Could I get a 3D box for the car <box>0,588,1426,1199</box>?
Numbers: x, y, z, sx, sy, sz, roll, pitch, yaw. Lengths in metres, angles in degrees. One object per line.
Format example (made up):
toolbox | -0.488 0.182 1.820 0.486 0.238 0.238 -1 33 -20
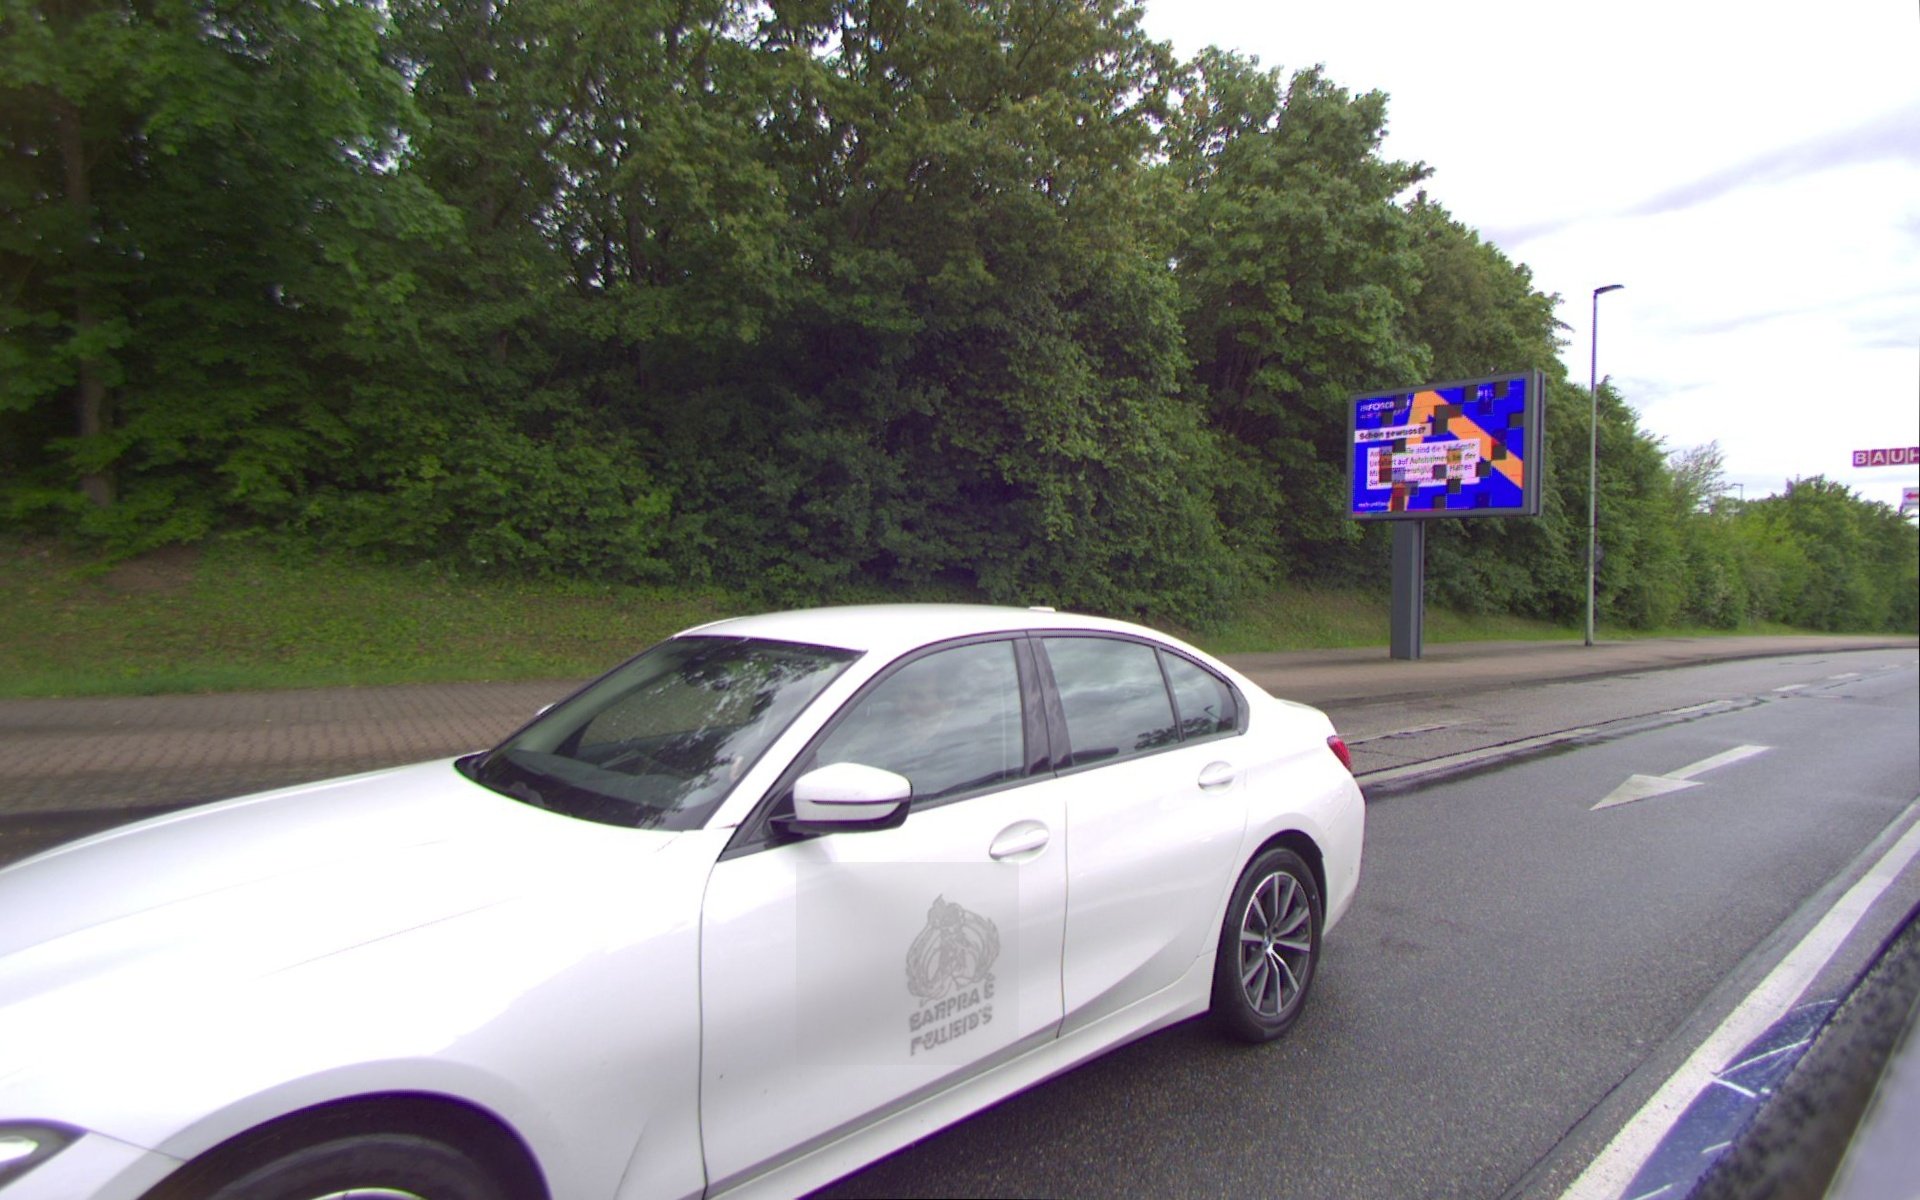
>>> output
car | -0.410 0.712 3.182 4.600 1.475 1.782 -1 1 -42
